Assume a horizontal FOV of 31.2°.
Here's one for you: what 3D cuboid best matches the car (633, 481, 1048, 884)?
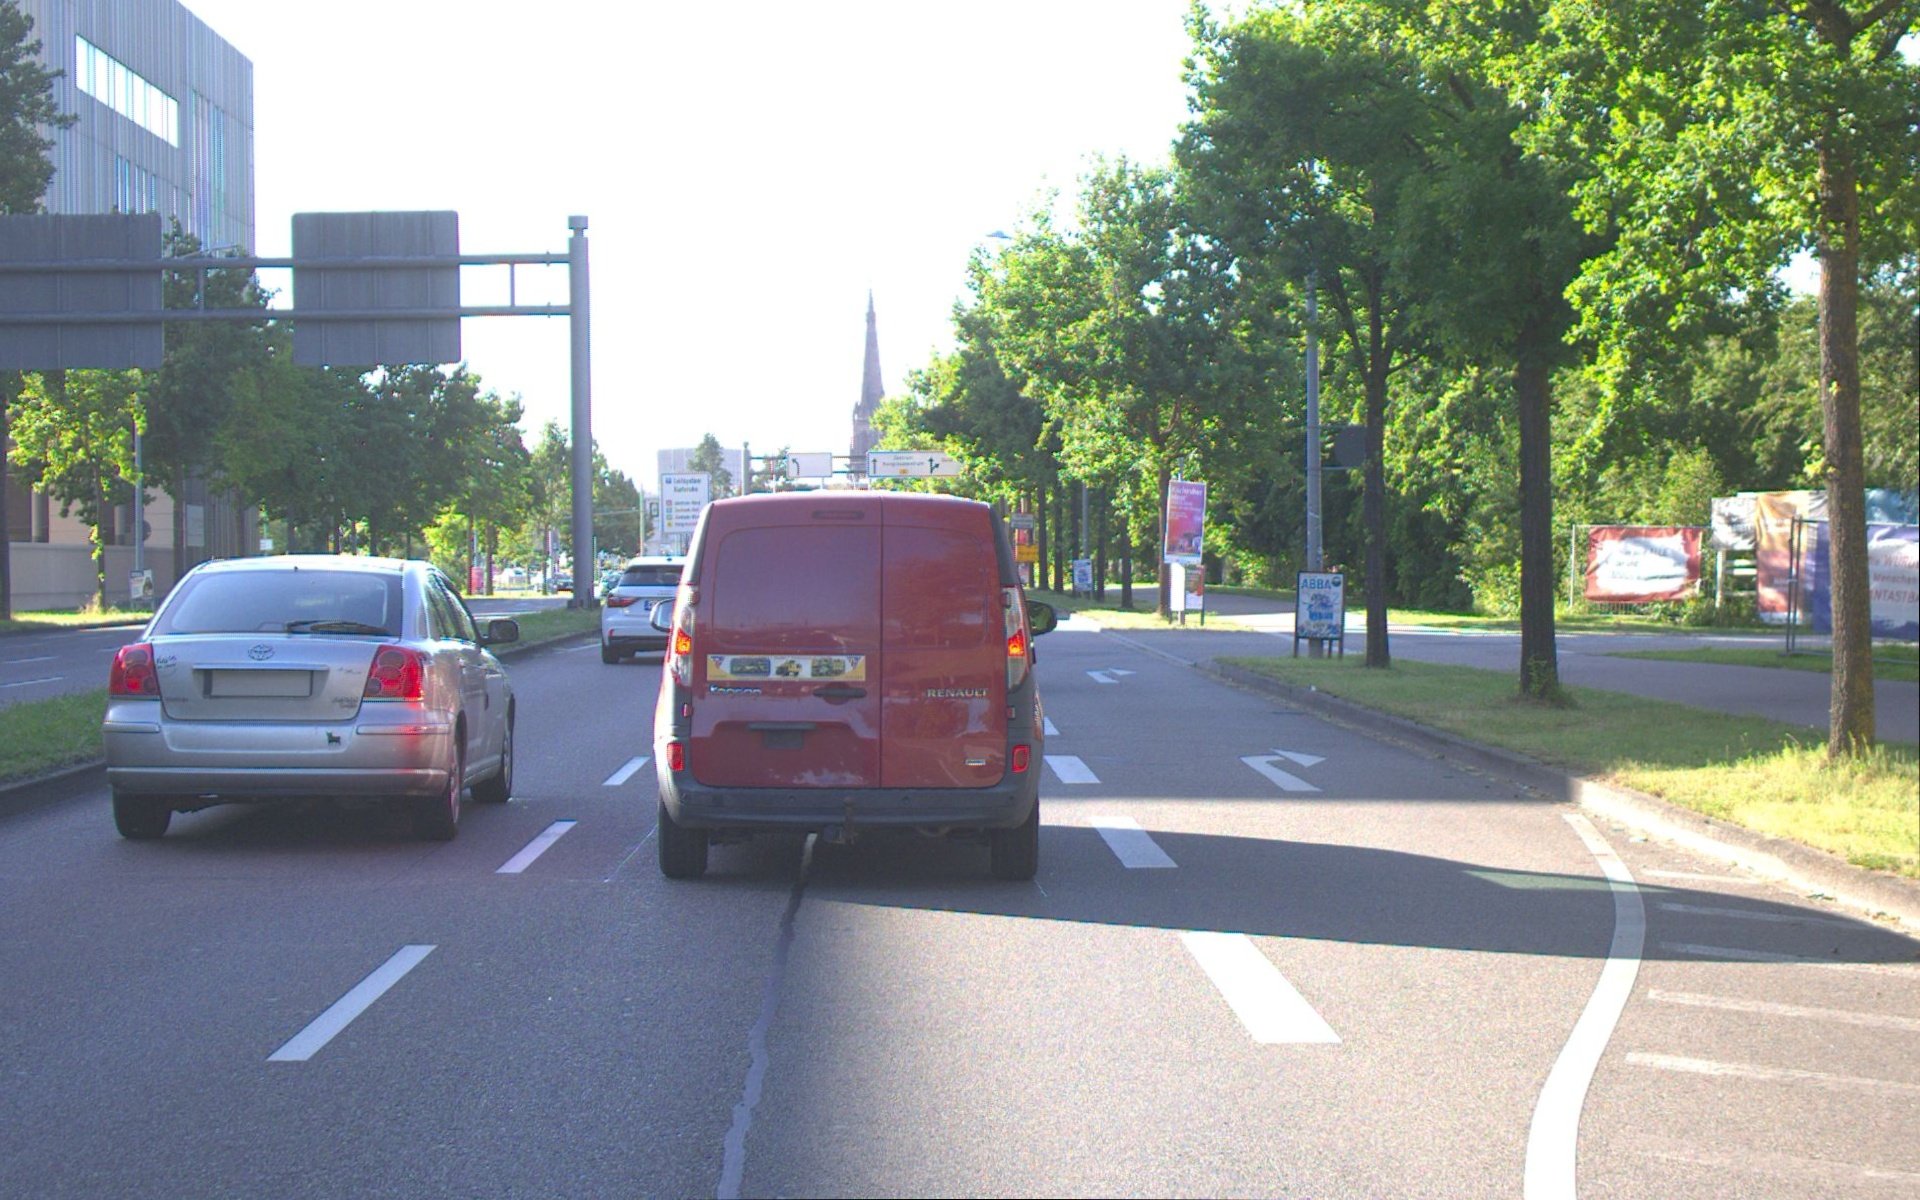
[{"bbox_3d":[-0.580,0.331,17.056,1.806,1.753,4.006,0,1,-2],"label":"car"}]

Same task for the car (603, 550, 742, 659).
[{"bbox_3d":[-3.829,0.032,46.260,1.661,1.393,3.559,-1,1,-2],"label":"car"}]

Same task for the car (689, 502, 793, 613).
[{"bbox_3d":[-3.776,-0.743,59.787,1.661,1.850,3.559,-1,1,-2],"label":"car"}]

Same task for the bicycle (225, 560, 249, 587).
[{"bbox_3d":[-27.648,-1.011,131.503,0.570,1.000,2.096,-1,0,-2],"label":"bicycle"}]

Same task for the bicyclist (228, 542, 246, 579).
[{"bbox_3d":[-27.654,-1.518,131.507,0.562,1.387,0.747,-1,0,-2],"label":"bicyclist"}]

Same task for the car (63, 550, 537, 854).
[{"bbox_3d":[-3.448,0.464,18.709,1.841,1.451,4.163,0,1,-1],"label":"car"}]
